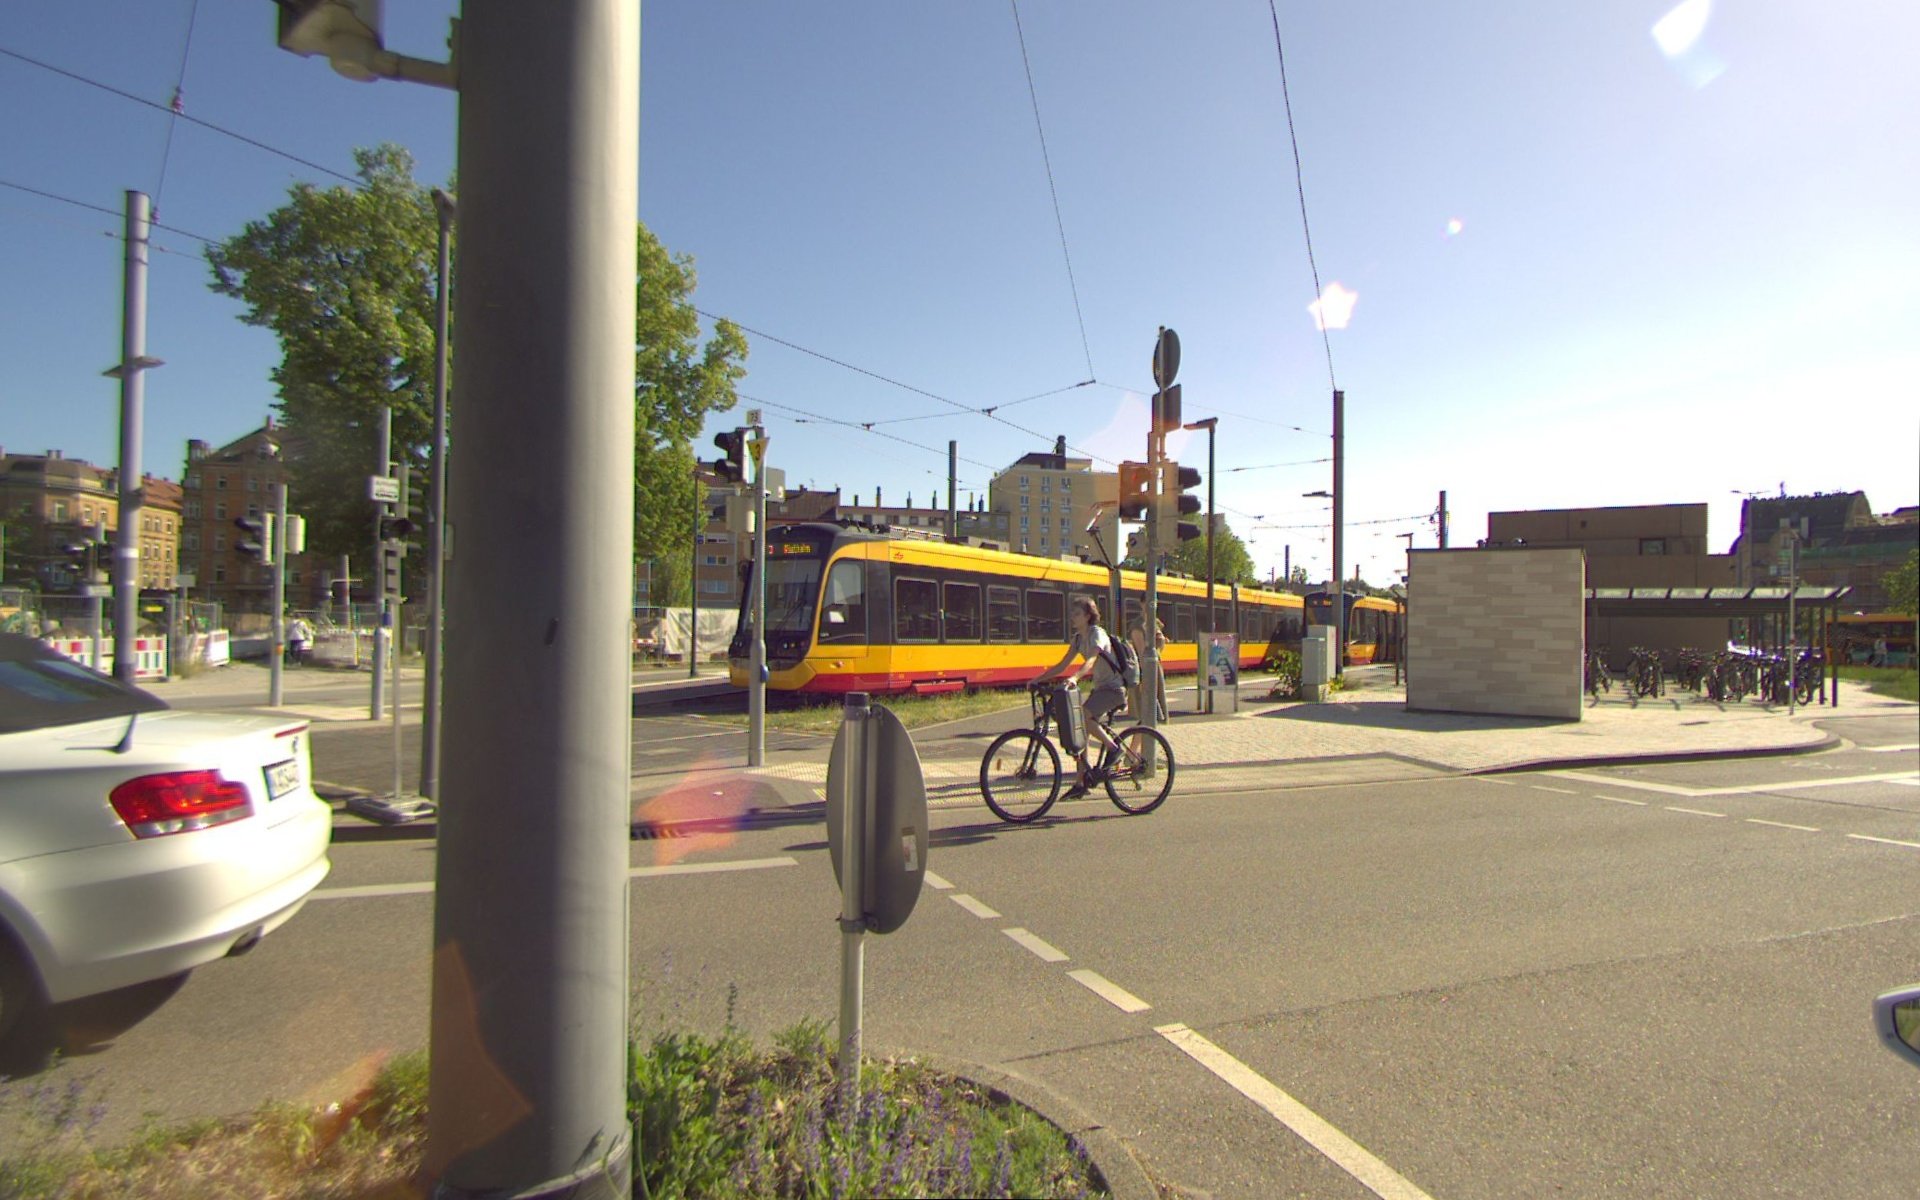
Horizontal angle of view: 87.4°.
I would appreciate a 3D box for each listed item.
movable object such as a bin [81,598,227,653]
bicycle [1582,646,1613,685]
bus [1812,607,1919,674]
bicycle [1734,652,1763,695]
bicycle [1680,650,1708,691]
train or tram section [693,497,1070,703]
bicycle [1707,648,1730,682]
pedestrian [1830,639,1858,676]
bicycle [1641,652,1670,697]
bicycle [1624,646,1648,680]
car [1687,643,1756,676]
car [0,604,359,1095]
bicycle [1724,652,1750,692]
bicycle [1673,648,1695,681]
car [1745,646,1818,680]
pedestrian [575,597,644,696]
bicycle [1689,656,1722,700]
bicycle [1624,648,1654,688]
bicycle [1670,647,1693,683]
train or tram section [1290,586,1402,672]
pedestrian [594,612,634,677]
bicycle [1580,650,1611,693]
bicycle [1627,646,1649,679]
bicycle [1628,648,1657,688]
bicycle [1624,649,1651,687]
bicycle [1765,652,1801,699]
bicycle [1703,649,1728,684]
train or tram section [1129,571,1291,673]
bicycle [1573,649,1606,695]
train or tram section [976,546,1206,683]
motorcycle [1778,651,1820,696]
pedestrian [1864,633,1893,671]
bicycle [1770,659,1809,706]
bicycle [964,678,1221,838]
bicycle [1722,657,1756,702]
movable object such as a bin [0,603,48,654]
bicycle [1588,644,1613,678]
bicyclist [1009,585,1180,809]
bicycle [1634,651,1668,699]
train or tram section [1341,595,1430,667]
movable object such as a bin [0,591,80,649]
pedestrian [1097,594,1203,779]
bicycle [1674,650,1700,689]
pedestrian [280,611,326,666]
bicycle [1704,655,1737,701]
[{"bbox_3d":[-45.404,1.430,56.736,5.987,2.795,1.888,3,-1,-16],"label":"movable object such as a bin"},{"bbox_3d":[18.885,1.940,29.727,0.573,1.102,2.051,1,-2,37],"label":"bicycle"},{"bbox_3d":[50.871,2.146,51.740,2.827,3.440,12.442,3,-2,-3],"label":"bus"},{"bbox_3d":[21.676,2.009,27.629,0.573,1.102,2.051,1,-2,37],"label":"bicycle"},{"bbox_3d":[20.814,1.993,28.462,0.573,1.102,2.051,1,-2,37],"label":"bicycle"},{"bbox_3d":[-1.055,0.169,22.500,2.777,3.554,10.456,0,-2,32],"label":"train or tram section"},{"bbox_3d":[25.867,2.228,34.276,0.573,1.102,1.865,2,-2,36],"label":"bicycle"},{"bbox_3d":[43.367,2.805,49.287,0.773,1.764,0.655,3,-1,-6],"label":"pedestrian"},{"bbox_3d":[17.828,1.893,25.723,0.573,1.072,1.811,2,-2,35],"label":"bicycle"},{"bbox_3d":[22.839,2.118,33.920,0.573,1.102,1.865,2,-2,36],"label":"bicycle"},{"bbox_3d":[50.412,3.897,66.594,1.970,2.040,4.003,2,-2,10],"label":"car"},{"bbox_3d":[-4.456,0.734,3.220,4.032,1.411,1.798,1,-3,-21],"label":"car"},{"bbox_3d":[22.857,2.118,29.562,0.573,1.102,2.008,1,-2,37],"label":"bicycle"},{"bbox_3d":[25.092,2.230,34.822,0.573,1.102,1.865,2,-2,36],"label":"bicycle"},{"bbox_3d":[53.993,4.113,66.120,1.970,2.040,4.003,2,-2,10],"label":"car"},{"bbox_3d":[-6.803,0.912,19.521,0.748,1.856,1.017,-3,-4,33],"label":"pedestrian"},{"bbox_3d":[17.581,1.824,23.680,0.573,0.973,2.051,1,-2,37],"label":"bicycle"},{"bbox_3d":[19.561,1.949,28.929,0.573,1.102,2.051,1,-2,37],"label":"bicycle"},{"bbox_3d":[23.868,2.146,33.226,0.573,1.102,1.866,2,-2,35],"label":"bicycle"},{"bbox_3d":[18.159,1.372,46.697,2.831,3.554,10.518,1,-1,32],"label":"train or tram section"},{"bbox_3d":[-9.728,1.253,28.215,0.658,1.791,0.798,0,-2,32],"label":"pedestrian"},{"bbox_3d":[16.791,1.868,26.514,0.573,1.072,1.811,2,-2,35],"label":"bicycle"},{"bbox_3d":[23.958,2.198,35.501,0.573,1.102,1.865,2,-2,36],"label":"bicycle"},{"bbox_3d":[19.797,1.965,29.121,0.573,1.102,2.051,1,-2,37],"label":"bicycle"},{"bbox_3d":[20.887,2.090,30.961,0.573,1.102,1.893,1,-2,37],"label":"bicycle"},{"bbox_3d":[20.040,1.818,24.478,0.573,1.065,1.965,1,-2,37],"label":"bicycle"},{"bbox_3d":[25.668,2.254,34.141,0.573,1.102,1.866,2,-2,35],"label":"bicycle"},{"bbox_3d":[10.364,0.924,40.422,2.777,3.554,11.181,1,-1,33],"label":"train or tram section"},{"bbox_3d":[15.650,1.771,24.943,0.573,1.072,1.811,2,-2,35],"label":"bicycle"},{"bbox_3d":[4.506,0.533,31.295,2.777,3.554,10.584,1,-1,33],"label":"train or tram section"},{"bbox_3d":[23.616,2.049,28.299,0.543,1.192,1.918,2,-2,29],"label":"motorcycle"},{"bbox_3d":[43.004,2.434,47.034,0.773,1.764,0.626,3,-1,-6],"label":"pedestrian"},{"bbox_3d":[18.820,1.856,22.813,0.573,0.973,2.051,1,-2,37],"label":"bicycle"},{"bbox_3d":[1.089,1.188,8.018,2.013,1.094,0.769,2,-3,-33],"label":"bicycle"},{"bbox_3d":[18.054,1.835,23.293,0.573,0.973,2.051,1,-2,37],"label":"bicycle"},{"bbox_3d":[-46.641,1.351,48.565,1.862,2.377,4.219,3,-2,-13],"label":"movable object such as a bin"},{"bbox_3d":[22.034,2.099,34.548,0.573,1.102,1.865,2,-2,36],"label":"bicycle"},{"bbox_3d":[1.083,0.752,8.141,1.049,1.666,0.875,2,-2,-32],"label":"bicyclist"},{"bbox_3d":[16.630,1.794,24.164,0.573,1.072,1.809,1,-2,37],"label":"bicycle"},{"bbox_3d":[23.710,1.732,55.562,2.831,3.554,10.518,1,-1,32],"label":"train or tram section"},{"bbox_3d":[-54.593,1.125,58.507,3.071,3.214,5.226,3,-2,-18],"label":"movable object such as a bin"},{"bbox_3d":[2.042,0.877,10.770,0.887,1.875,0.761,0,1,34],"label":"pedestrian"},{"bbox_3d":[21.948,2.097,30.321,0.573,1.102,1.922,1,-2,37],"label":"bicycle"},{"bbox_3d":[-21.804,1.290,33.363,0.955,1.791,0.864,1,-1,-7],"label":"pedestrian"},{"bbox_3d":[19.004,1.930,25.113,0.573,1.072,1.811,2,-2,35],"label":"bicycle"}]
